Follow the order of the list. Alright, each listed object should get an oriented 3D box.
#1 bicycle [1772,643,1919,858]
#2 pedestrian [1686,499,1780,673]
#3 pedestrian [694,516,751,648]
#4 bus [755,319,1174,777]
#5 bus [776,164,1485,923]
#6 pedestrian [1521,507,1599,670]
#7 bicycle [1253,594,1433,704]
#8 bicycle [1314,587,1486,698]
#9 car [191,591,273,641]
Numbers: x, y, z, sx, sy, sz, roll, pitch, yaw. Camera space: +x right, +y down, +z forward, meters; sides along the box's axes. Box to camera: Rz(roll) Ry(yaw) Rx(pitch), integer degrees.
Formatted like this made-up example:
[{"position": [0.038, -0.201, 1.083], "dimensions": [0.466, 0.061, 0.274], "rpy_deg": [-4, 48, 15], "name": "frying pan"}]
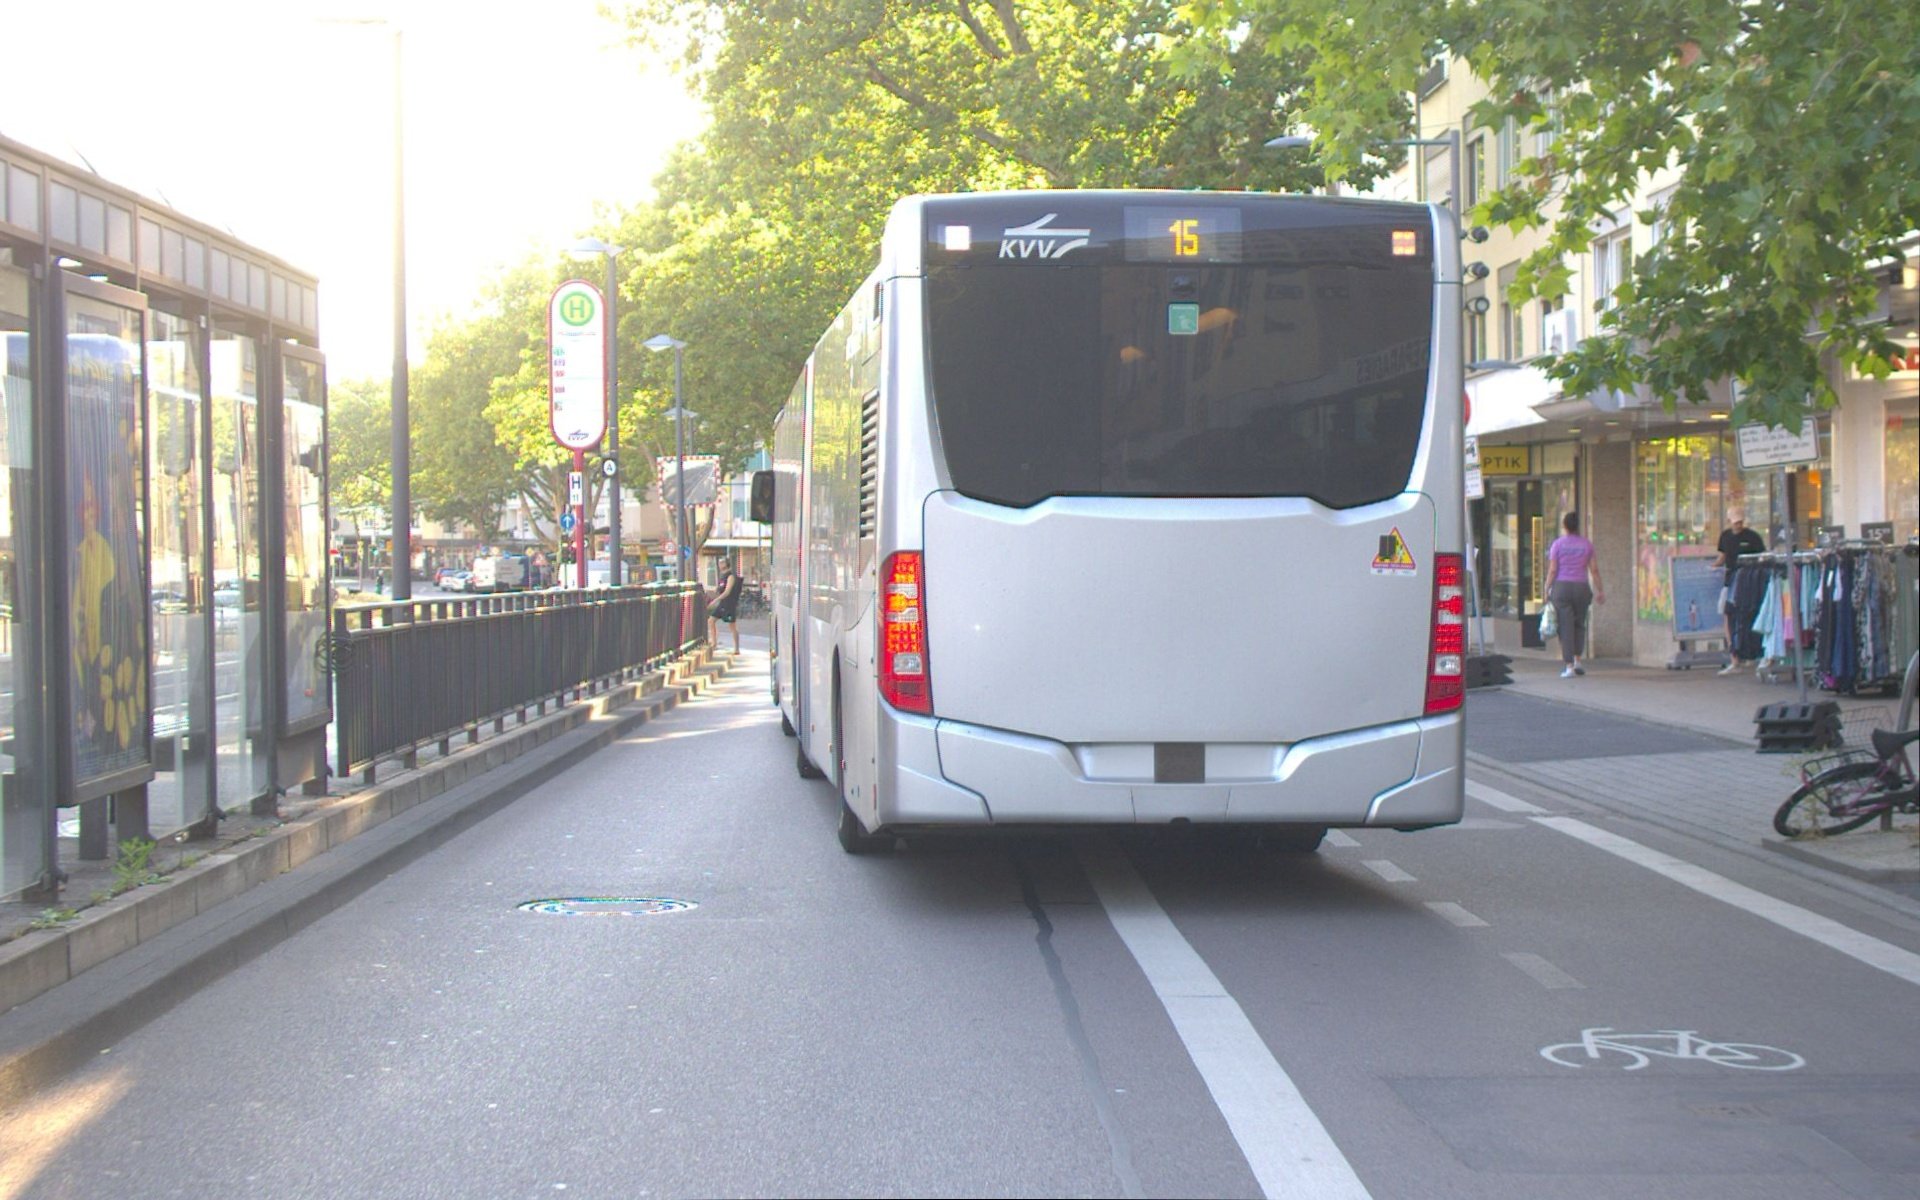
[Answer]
[{"position": [5.169, 0.701, 17.411], "dimensions": [1.782, 0.631, 0.935], "rpy_deg": [-4, -33, -31], "name": "bicycle"}, {"position": [8.225, -0.152, 36.615], "dimensions": [0.723, 1.789, 0.766], "rpy_deg": [-3, 0, -1], "name": "pedestrian"}, {"position": [-4.587, -0.346, 66.493], "dimensions": [0.889, 2.538, 1.163], "rpy_deg": [0, 0, 6], "name": "pedestrian"}, {"position": [-0.231, -0.408, 28.098], "dimensions": [2.696, 3.107, 9.071], "rpy_deg": [1, 1, -4], "name": "bus"}, {"position": [0.465, -0.285, 18.890], "dimensions": [2.696, 3.107, 9.383], "rpy_deg": [1, 1, -4], "name": "bus"}, {"position": [6.666, -0.131, 38.209], "dimensions": [0.723, 1.789, 0.766], "rpy_deg": [0, 0, -1], "name": "pedestrian"}, {"position": [4.278, 0.548, 38.497], "dimensions": [1.887, 1.073, 0.754], "rpy_deg": [-4, 1, 3], "name": "bicycle"}, {"position": [4.813, 0.460, 37.596], "dimensions": [1.703, 1.073, 0.592], "rpy_deg": [-5, 1, -17], "name": "bicycle"}, {"position": [-25.000, 0.528, 118.124], "dimensions": [1.993, 1.645, 4.000], "rpy_deg": [0, 0, -1], "name": "car"}]
